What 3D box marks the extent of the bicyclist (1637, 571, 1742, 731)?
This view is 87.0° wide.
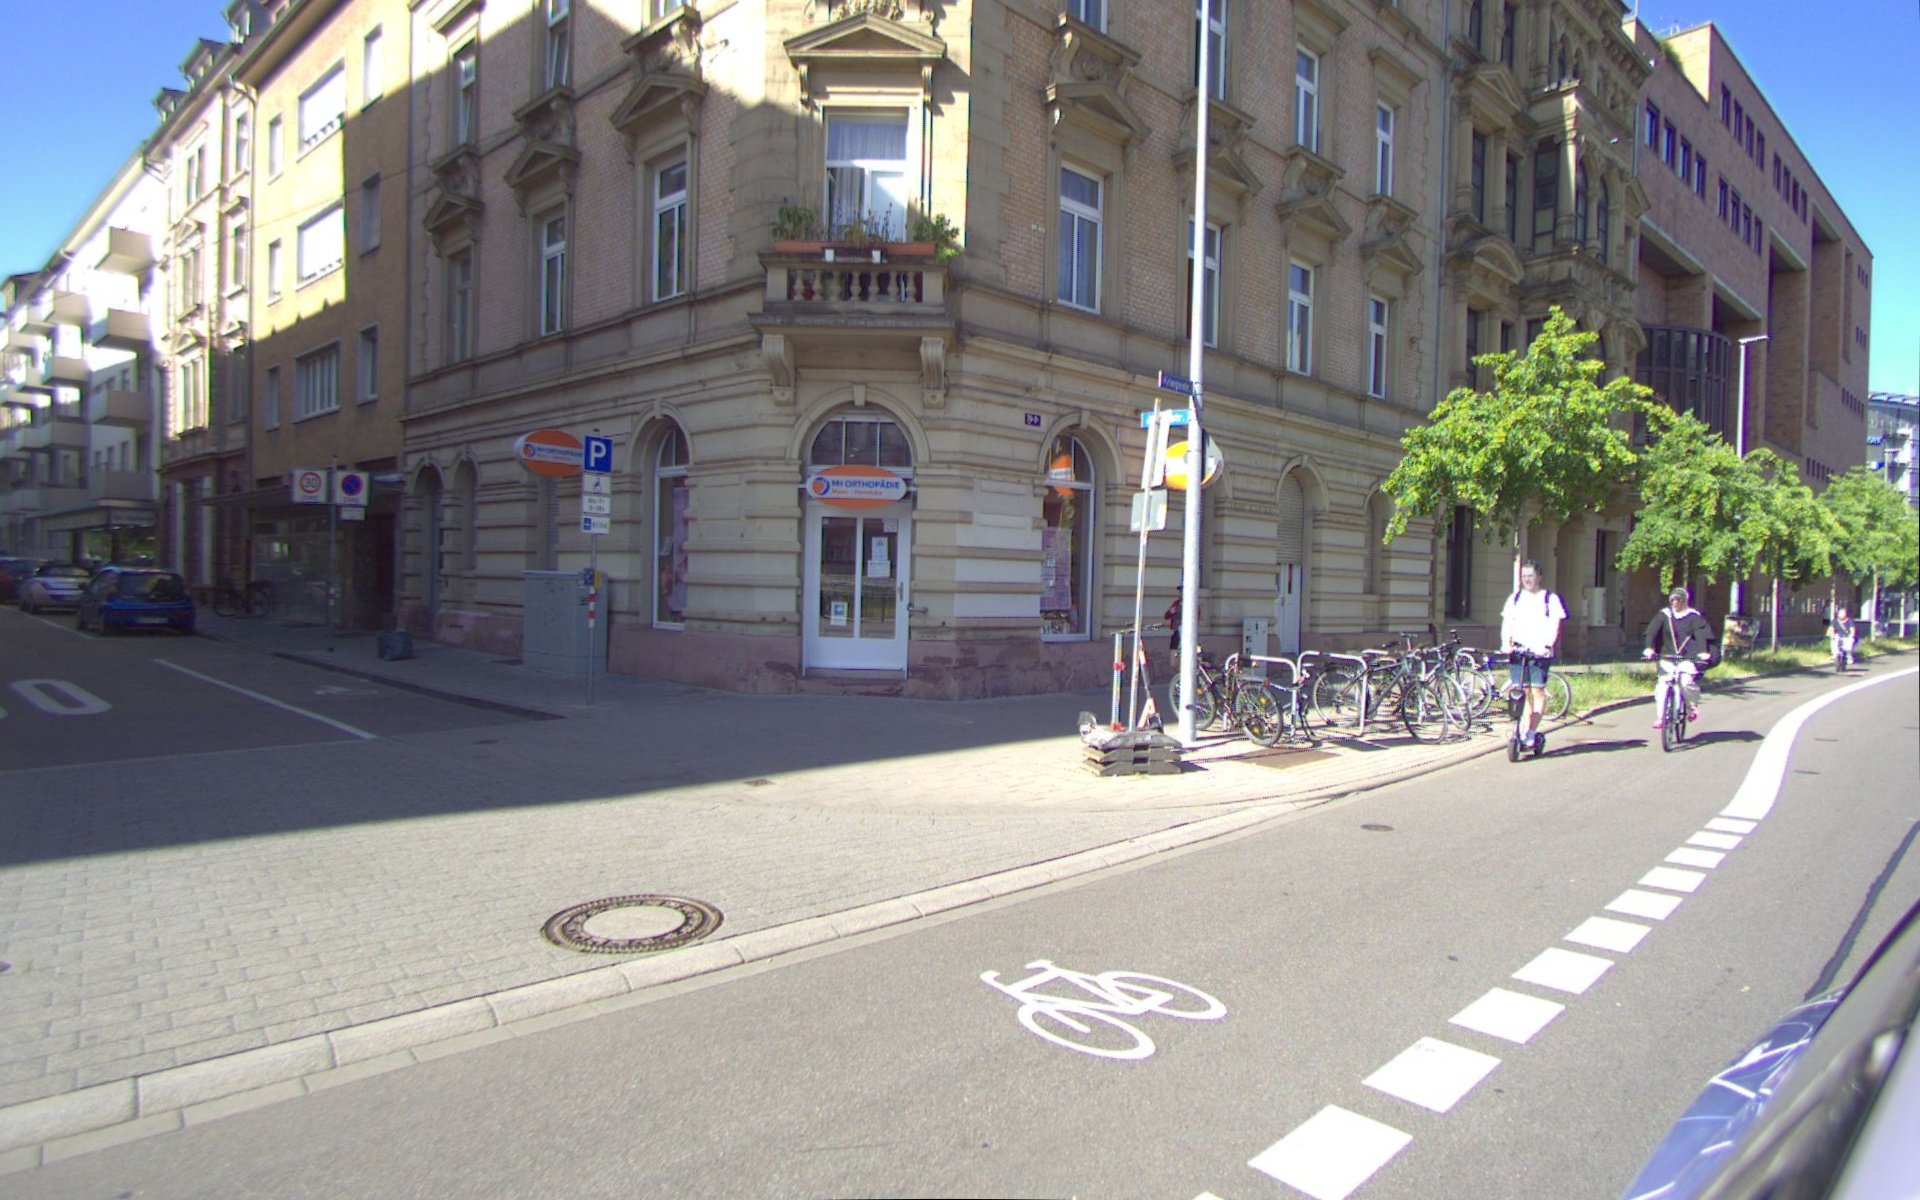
[{"bbox_3d":[8.305,0.555,11.520,0.853,1.733,0.780,1,-1,-41],"label":"bicyclist"}]

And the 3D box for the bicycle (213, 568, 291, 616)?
[{"bbox_3d":[-18.592,-0.215,26.579,1.988,1.193,0.629,2,1,19],"label":"bicycle"}]

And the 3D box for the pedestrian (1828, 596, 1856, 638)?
[{"bbox_3d":[40.710,0.778,46.720,1.087,1.906,0.789,1,1,-41],"label":"pedestrian"}]

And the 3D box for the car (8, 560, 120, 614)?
[{"bbox_3d":[-25.194,-0.382,28.409,3.982,1.351,1.775,2,-1,40],"label":"car"}]

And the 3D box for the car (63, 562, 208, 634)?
[{"bbox_3d":[-18.414,-0.069,22.552,3.982,1.438,1.775,2,-1,40],"label":"car"}]

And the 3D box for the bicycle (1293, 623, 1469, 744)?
[{"bbox_3d":[4.720,0.899,11.458,0.595,1.114,1.729,1,3,-37],"label":"bicycle"}]

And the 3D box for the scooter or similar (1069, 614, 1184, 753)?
[{"bbox_3d":[1.586,0.767,9.767,0.411,1.204,1.115,1,1,-33],"label":"scooter or similar"}]

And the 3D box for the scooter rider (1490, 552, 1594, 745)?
[{"bbox_3d":[5.993,0.477,10.419,0.885,1.884,0.667,1,-1,-41],"label":"scooter rider"}]

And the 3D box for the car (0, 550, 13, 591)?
[{"bbox_3d":[-41.419,-1.273,42.721,3.758,1.686,1.775,2,1,41],"label":"car"}]

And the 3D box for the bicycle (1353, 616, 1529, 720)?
[{"bbox_3d":[6.481,0.877,13.743,0.697,1.142,2.001,1,3,-39],"label":"bicycle"}]

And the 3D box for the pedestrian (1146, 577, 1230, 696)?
[{"bbox_3d":[3.138,0.476,13.935,0.911,1.561,0.710,1,1,-41],"label":"pedestrian"}]

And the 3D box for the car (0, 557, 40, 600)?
[{"bbox_3d":[-33.956,-0.790,35.678,3.757,1.450,1.776,2,1,40],"label":"car"}]

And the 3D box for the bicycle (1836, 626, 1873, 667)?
[{"bbox_3d":[23.709,1.225,26.825,1.481,1.040,0.558,1,-1,-42],"label":"bicycle"}]

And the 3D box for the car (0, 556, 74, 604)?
[{"bbox_3d":[-29.980,-0.676,32.489,3.757,1.450,1.776,2,1,40],"label":"car"}]

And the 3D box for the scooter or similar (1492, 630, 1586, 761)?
[{"bbox_3d":[5.968,0.945,10.418,1.150,1.242,0.491,1,-1,-42],"label":"scooter or similar"}]

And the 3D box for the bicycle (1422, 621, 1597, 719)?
[{"bbox_3d":[7.749,0.949,14.326,1.993,1.106,0.835,5,3,40],"label":"bicycle"}]

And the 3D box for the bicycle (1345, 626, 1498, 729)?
[{"bbox_3d":[5.726,0.927,12.636,0.595,1.058,1.605,1,3,-37],"label":"bicycle"}]

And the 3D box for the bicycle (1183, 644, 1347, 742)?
[{"bbox_3d":[3.253,0.965,10.948,0.595,0.831,1.677,1,2,-34],"label":"bicycle"}]

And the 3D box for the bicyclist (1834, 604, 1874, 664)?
[{"bbox_3d":[23.732,0.880,26.861,0.893,1.557,0.658,1,-1,-41],"label":"bicyclist"}]

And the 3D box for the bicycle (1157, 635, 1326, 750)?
[{"bbox_3d":[2.851,0.903,10.410,0.595,0.955,1.677,1,2,-33],"label":"bicycle"}]

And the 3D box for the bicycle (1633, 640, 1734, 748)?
[{"bbox_3d":[8.335,1.042,11.640,1.761,1.106,0.558,1,-1,-42],"label":"bicycle"}]
